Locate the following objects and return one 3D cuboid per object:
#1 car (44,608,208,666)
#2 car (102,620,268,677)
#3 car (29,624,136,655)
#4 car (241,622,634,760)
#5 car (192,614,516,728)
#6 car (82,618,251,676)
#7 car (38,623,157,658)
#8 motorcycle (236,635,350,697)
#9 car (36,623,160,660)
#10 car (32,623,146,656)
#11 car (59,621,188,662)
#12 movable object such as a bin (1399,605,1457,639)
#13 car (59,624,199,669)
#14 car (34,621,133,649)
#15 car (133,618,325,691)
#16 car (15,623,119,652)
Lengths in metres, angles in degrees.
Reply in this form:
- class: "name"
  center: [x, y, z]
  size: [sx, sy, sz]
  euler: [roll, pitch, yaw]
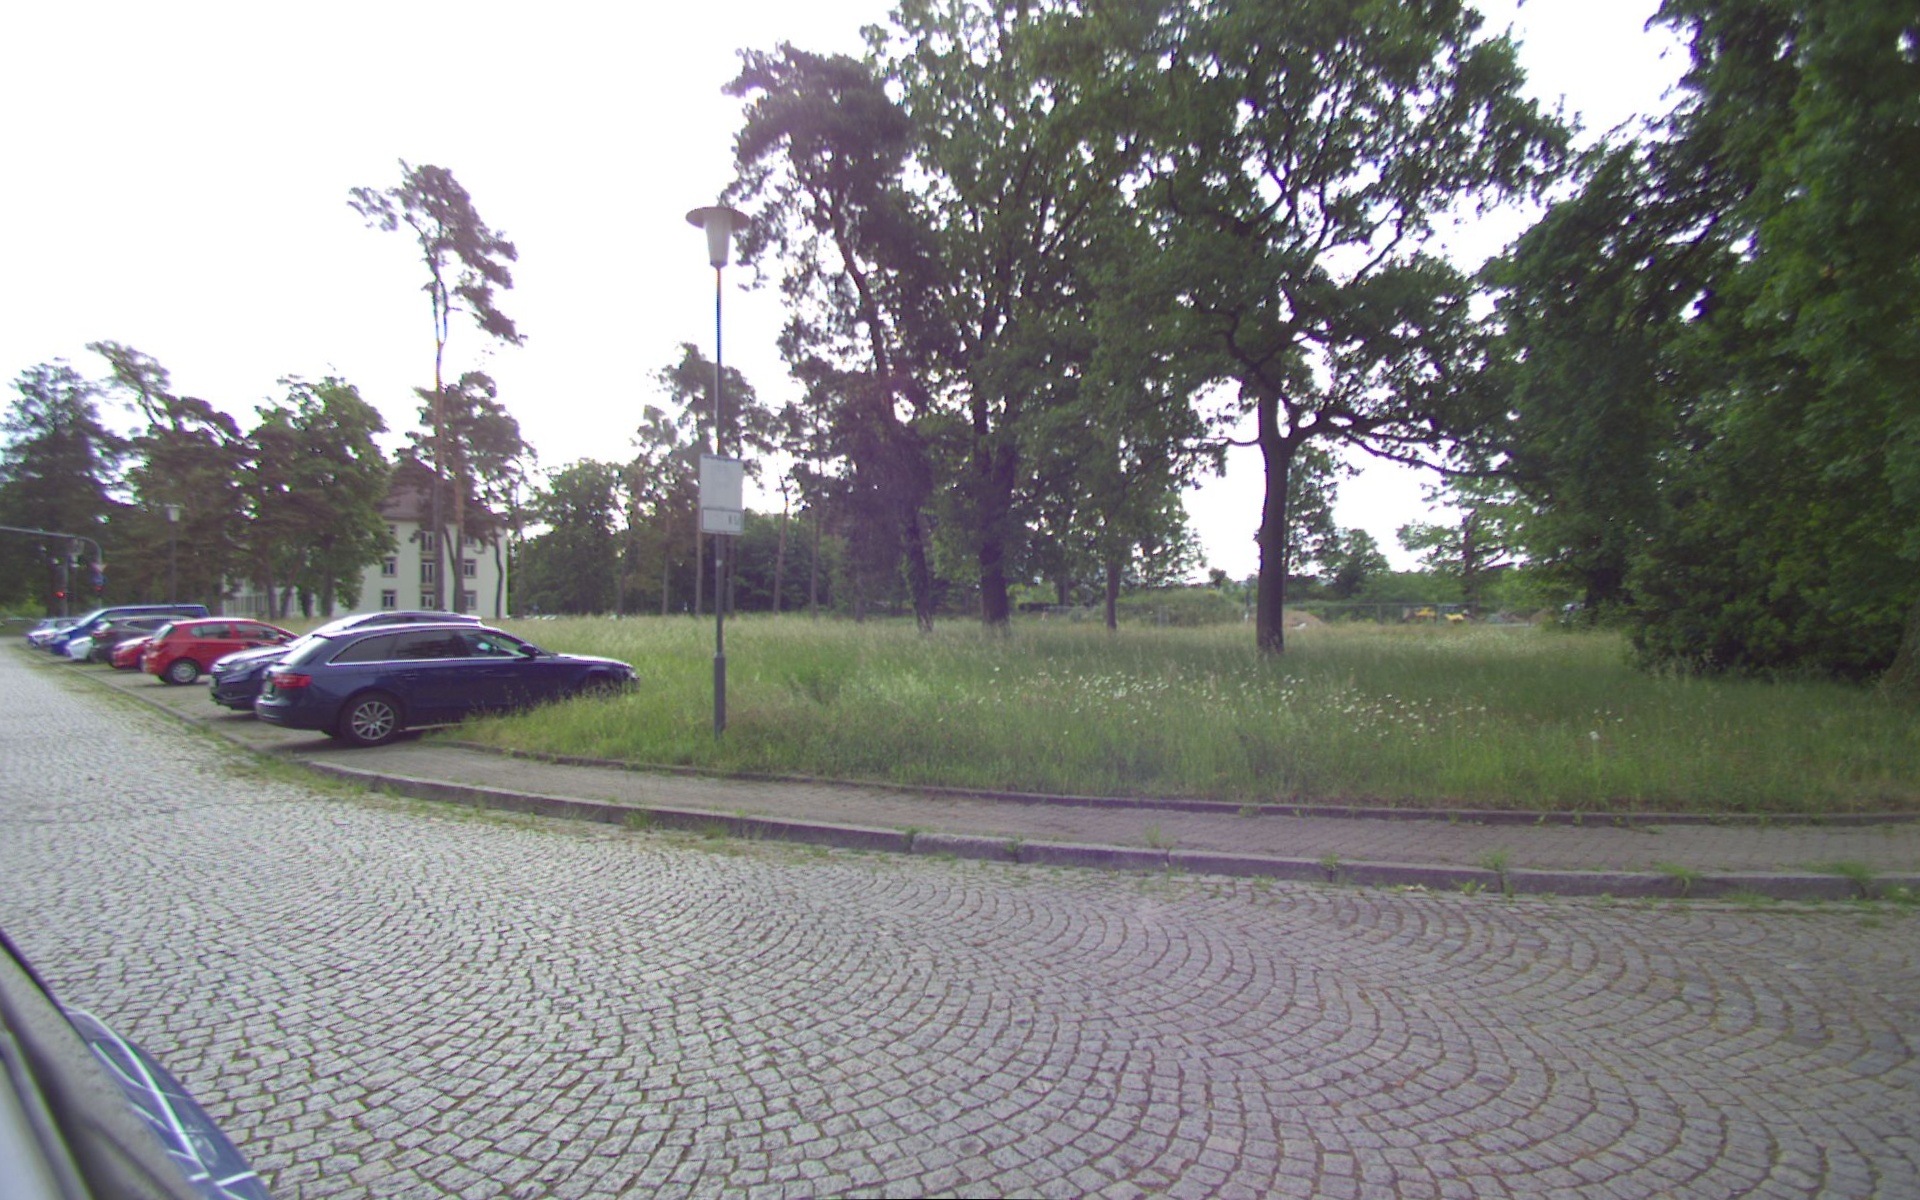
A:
- class: "car"
  center: [-30.920, 1.331, 37.611]
  size: [1.793, 1.916, 4.481]
  euler: [-1, 0, 43]
- class: "car"
  center: [-22.588, 1.365, 29.584]
  size: [1.577, 1.432, 3.612]
  euler: [-1, 0, 43]
- class: "car"
  center: [-43.844, 1.941, 50.596]
  size: [1.584, 1.349, 3.897]
  euler: [-1, 0, 43]
- class: "car"
  center: [-6.730, 1.053, 13.348]
  size: [4.289, 1.415, 1.766]
  euler: [-1, 0, -43]
- class: "car"
  center: [-9.919, 1.055, 16.817]
  size: [1.764, 1.574, 4.304]
  euler: [-1, 0, 43]
- class: "car"
  center: [-24.577, 1.394, 31.420]
  size: [1.764, 1.557, 3.897]
  euler: [-1, 0, 43]
- class: "car"
  center: [-38.801, 1.786, 45.580]
  size: [1.584, 1.349, 3.897]
  euler: [-1, 0, 43]
- class: "motorcycle"
  center: [-13.813, 1.345, 21.010]
  size: [0.549, 1.202, 1.890]
  euler: [-1, -1, 39]
- class: "car"
  center: [-36.839, 1.739, 43.312]
  size: [1.584, 1.349, 3.897]
  euler: [-1, 0, 43]
- class: "car"
  center: [-40.778, 1.817, 47.442]
  size: [1.584, 1.349, 3.897]
  euler: [-1, 0, 43]
- class: "car"
  center: [-34.277, 1.654, 41.549]
  size: [1.584, 1.445, 3.897]
  euler: [-1, 0, 43]
- class: "movable object such as a bin"
  center: [36.494, 1.705, 79.100]
  size: [1.972, 2.575, 5.346]
  euler: [0, -1, 0]
- class: "car"
  center: [-29.256, 1.595, 35.694]
  size: [1.584, 1.349, 3.643]
  euler: [-1, 0, 43]
- class: "car"
  center: [-47.393, 1.862, 54.768]
  size: [1.584, 1.349, 3.897]
  euler: [-1, 0, 43]
- class: "car"
  center: [-17.294, 1.226, 24.032]
  size: [1.602, 1.493, 3.450]
  euler: [-1, 0, 43]
- class: "car"
  center: [-46.491, 1.926, 52.733]
  size: [1.584, 1.349, 3.897]
  euler: [-1, 0, 43]
